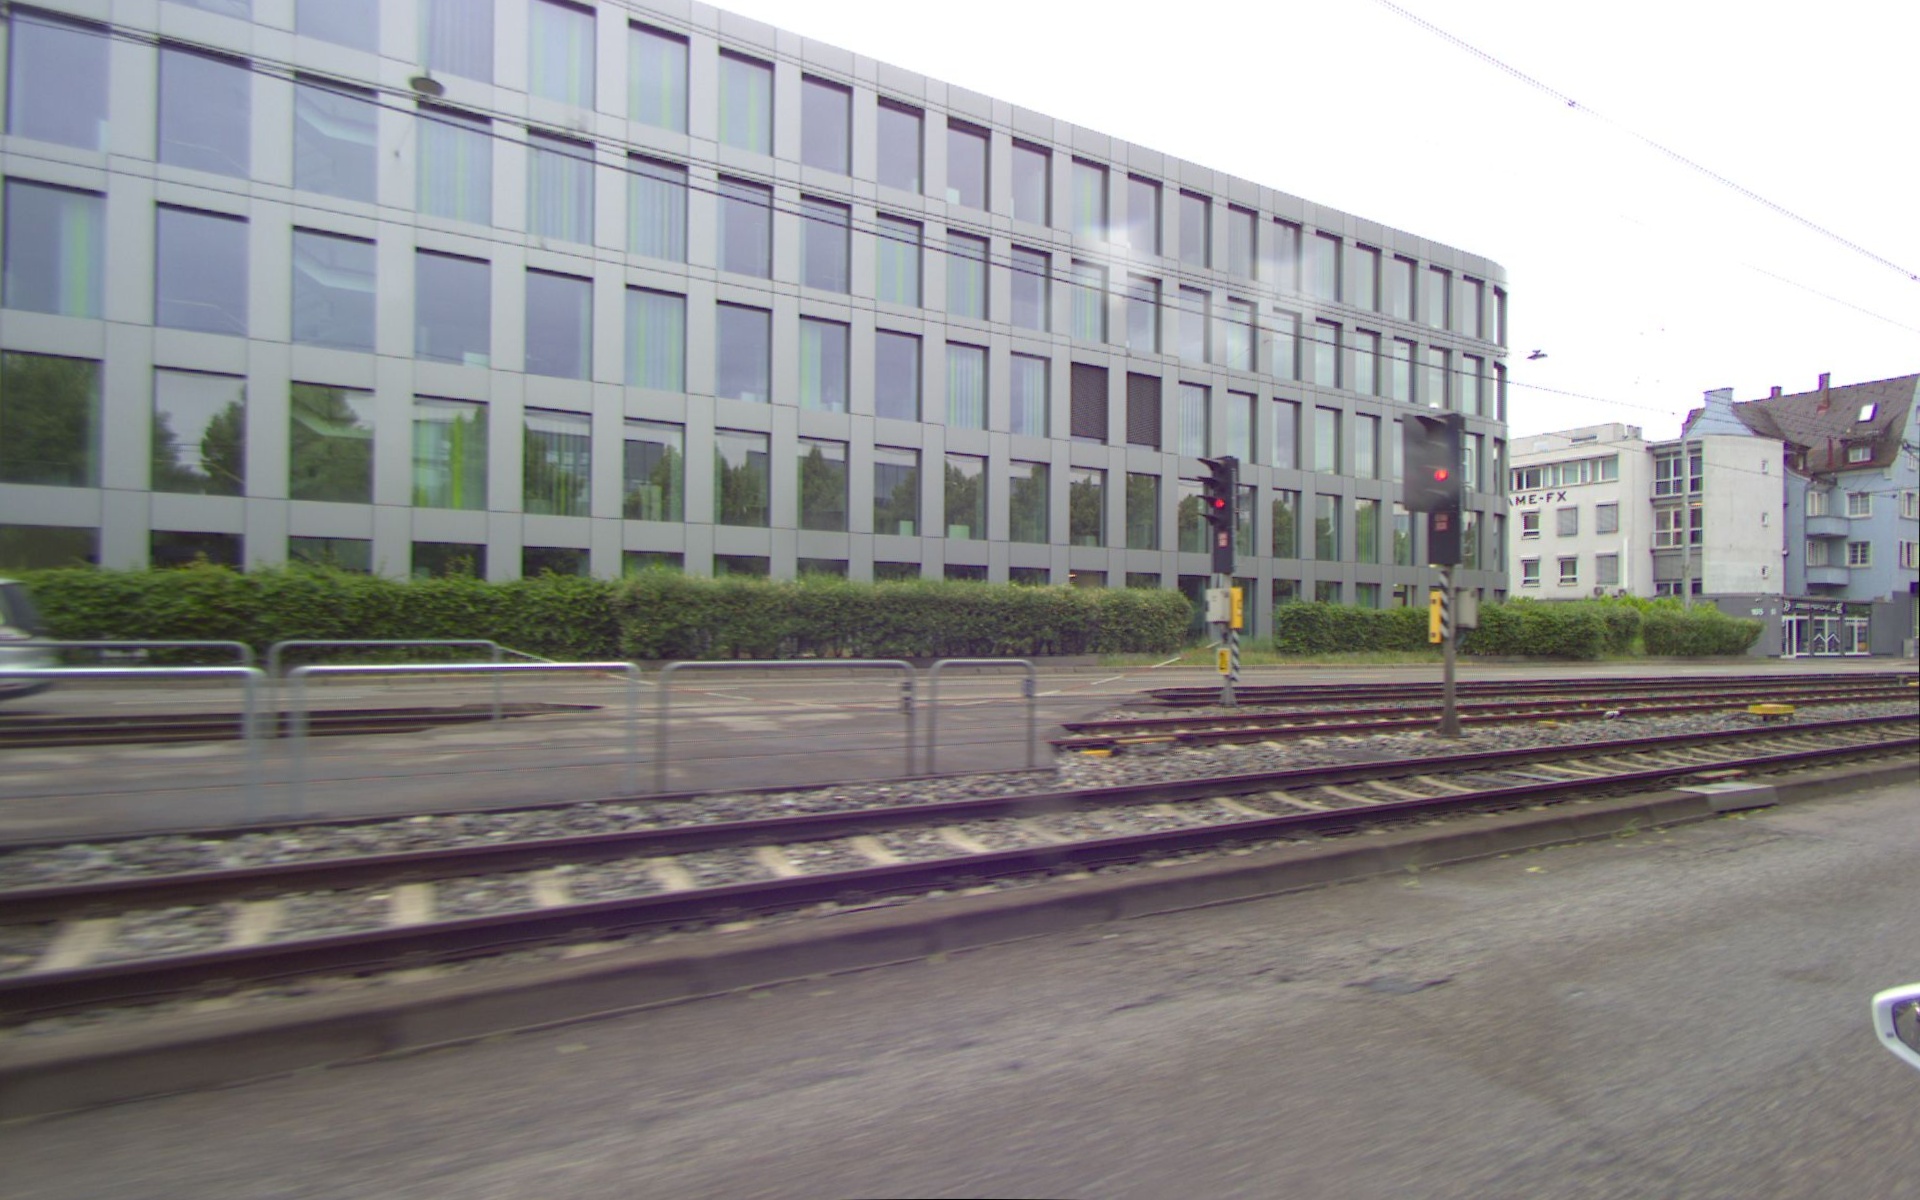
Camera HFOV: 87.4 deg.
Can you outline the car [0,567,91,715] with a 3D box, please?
[{"bbox_3d":[-13.095,0.418,11.167,4.824,1.666,1.894,2,-2,-29],"label":"car"}]
